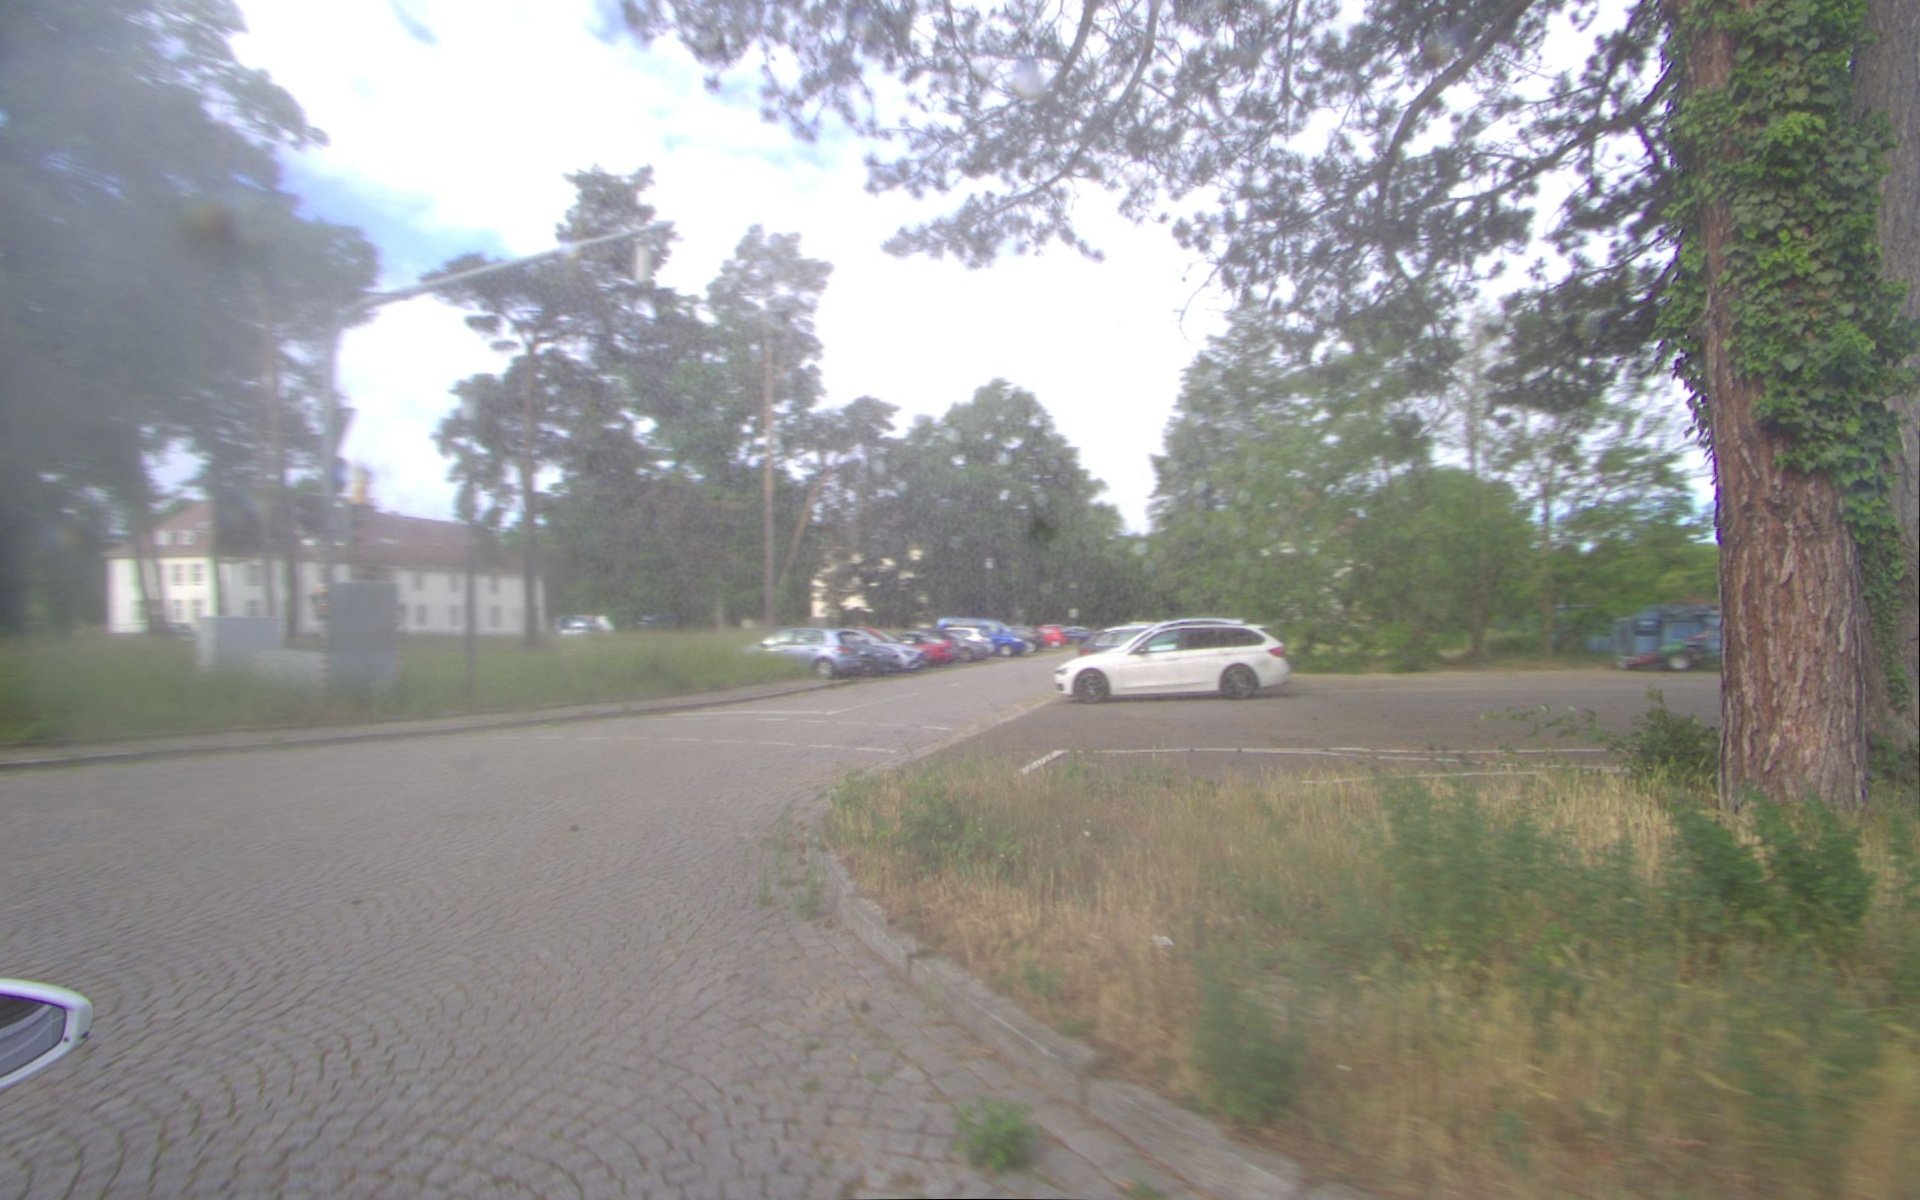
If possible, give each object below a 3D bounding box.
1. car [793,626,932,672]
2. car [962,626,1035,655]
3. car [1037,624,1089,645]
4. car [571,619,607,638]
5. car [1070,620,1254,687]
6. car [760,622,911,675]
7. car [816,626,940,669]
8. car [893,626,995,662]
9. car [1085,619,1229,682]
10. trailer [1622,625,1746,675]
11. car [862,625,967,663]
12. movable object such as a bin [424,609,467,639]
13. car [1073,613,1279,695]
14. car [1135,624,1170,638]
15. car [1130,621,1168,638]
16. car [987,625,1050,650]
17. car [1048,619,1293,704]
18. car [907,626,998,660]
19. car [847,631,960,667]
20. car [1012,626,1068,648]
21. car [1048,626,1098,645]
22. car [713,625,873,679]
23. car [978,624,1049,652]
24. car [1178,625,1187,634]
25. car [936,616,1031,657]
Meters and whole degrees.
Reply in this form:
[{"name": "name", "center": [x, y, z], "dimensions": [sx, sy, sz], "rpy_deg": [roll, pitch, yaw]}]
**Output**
[{"name": "car", "center": [-3.330, 1.670, 34.595], "dimensions": [4.369, 1.474, 1.948], "rpy_deg": [0, -2, 15]}, {"name": "car", "center": [2.127, 2.209, 54.877], "dimensions": [3.734, 1.513, 1.725], "rpy_deg": [0, -1, 12]}, {"name": "car", "center": [8.311, 2.780, 80.967], "dimensions": [4.008, 1.625, 1.786], "rpy_deg": [0, -1, 13]}, {"name": "car", "center": [-45.602, 3.517, 123.060], "dimensions": [2.030, 2.121, 4.344], "rpy_deg": [-1, -3, 14]}, {"name": "car", "center": [5.026, 1.325, 25.014], "dimensions": [4.300, 1.424, 1.795], "rpy_deg": [-3, -1, 13]}, {"name": "car", "center": [-3.942, 1.524, 31.983], "dimensions": [4.430, 1.556, 1.870], "rpy_deg": [0, -2, 11]}, {"name": "car", "center": [-3.000, 1.717, 36.894], "dimensions": [4.189, 1.474, 1.853], "rpy_deg": [0, -1, 15]}, {"name": "car", "center": [-0.690, 1.935, 44.495], "dimensions": [4.240, 1.500, 1.729], "rpy_deg": [0, -1, 16]}, {"name": "car", "center": [5.419, 1.385, 27.702], "dimensions": [3.714, 1.499, 1.742], "rpy_deg": [-3, -1, 12]}, {"name": "trailer", "center": [18.413, 1.267, 25.519], "dimensions": [2.277, 1.185, 1.143], "rpy_deg": [1, -1, 13]}, {"name": "car", "center": [-1.870, 1.825, 41.827], "dimensions": [4.026, 1.500, 1.753], "rpy_deg": [0, -1, 16]}, {"name": "movable object such as a bin", "center": [-65.933, 3.106, 128.310], "dimensions": [6.048, 3.686, 2.132], "rpy_deg": [-1, -3, 32]}, {"name": "car", "center": [4.730, 1.199, 22.318], "dimensions": [4.261, 1.594, 1.827], "rpy_deg": [-3, -2, 9]}, {"name": "car", "center": [28.675, 4.657, 149.030], "dimensions": [4.901, 1.993, 2.052], "rpy_deg": [1, -2, 13]}, {"name": "car", "center": [24.943, 3.833, 132.028], "dimensions": [4.901, 2.098, 2.052], "rpy_deg": [1, -2, 13]}, {"name": "car", "center": [3.752, 2.357, 63.803], "dimensions": [3.757, 1.505, 1.760], "rpy_deg": [0, -1, 14]}, {"name": "car", "center": [4.101, 1.213, 19.821], "dimensions": [4.479, 1.443, 1.827], "rpy_deg": [-3, -2, 11]}, {"name": "car", "center": [-0.328, 1.992, 47.360], "dimensions": [3.945, 1.521, 1.841], "rpy_deg": [0, -1, 16]}, {"name": "car", "center": [-2.184, 1.902, 39.140], "dimensions": [4.068, 1.300, 1.762], "rpy_deg": [0, -1, 15]}, {"name": "car", "center": [5.686, 2.589, 71.069], "dimensions": [3.757, 1.509, 1.786], "rpy_deg": [0, -1, 14]}, {"name": "car", "center": [9.616, 3.008, 85.415], "dimensions": [4.011, 1.486, 1.623], "rpy_deg": [0, -1, 18]}, {"name": "car", "center": [-4.905, 1.498, 29.522], "dimensions": [4.264, 1.489, 1.825], "rpy_deg": [0, -2, 16]}, {"name": "car", "center": [3.280, 2.312, 61.048], "dimensions": [4.005, 1.596, 1.953], "rpy_deg": [0, -1, 13]}, {"name": "car", "center": [43.363, 5.855, 195.394], "dimensions": [1.762, 1.656, 4.061], "rpy_deg": [0, -3, 13]}, {"name": "car", "center": [1.265, 1.882, 52.416], "dimensions": [4.637, 2.006, 2.036], "rpy_deg": [0, -1, 14]}]
